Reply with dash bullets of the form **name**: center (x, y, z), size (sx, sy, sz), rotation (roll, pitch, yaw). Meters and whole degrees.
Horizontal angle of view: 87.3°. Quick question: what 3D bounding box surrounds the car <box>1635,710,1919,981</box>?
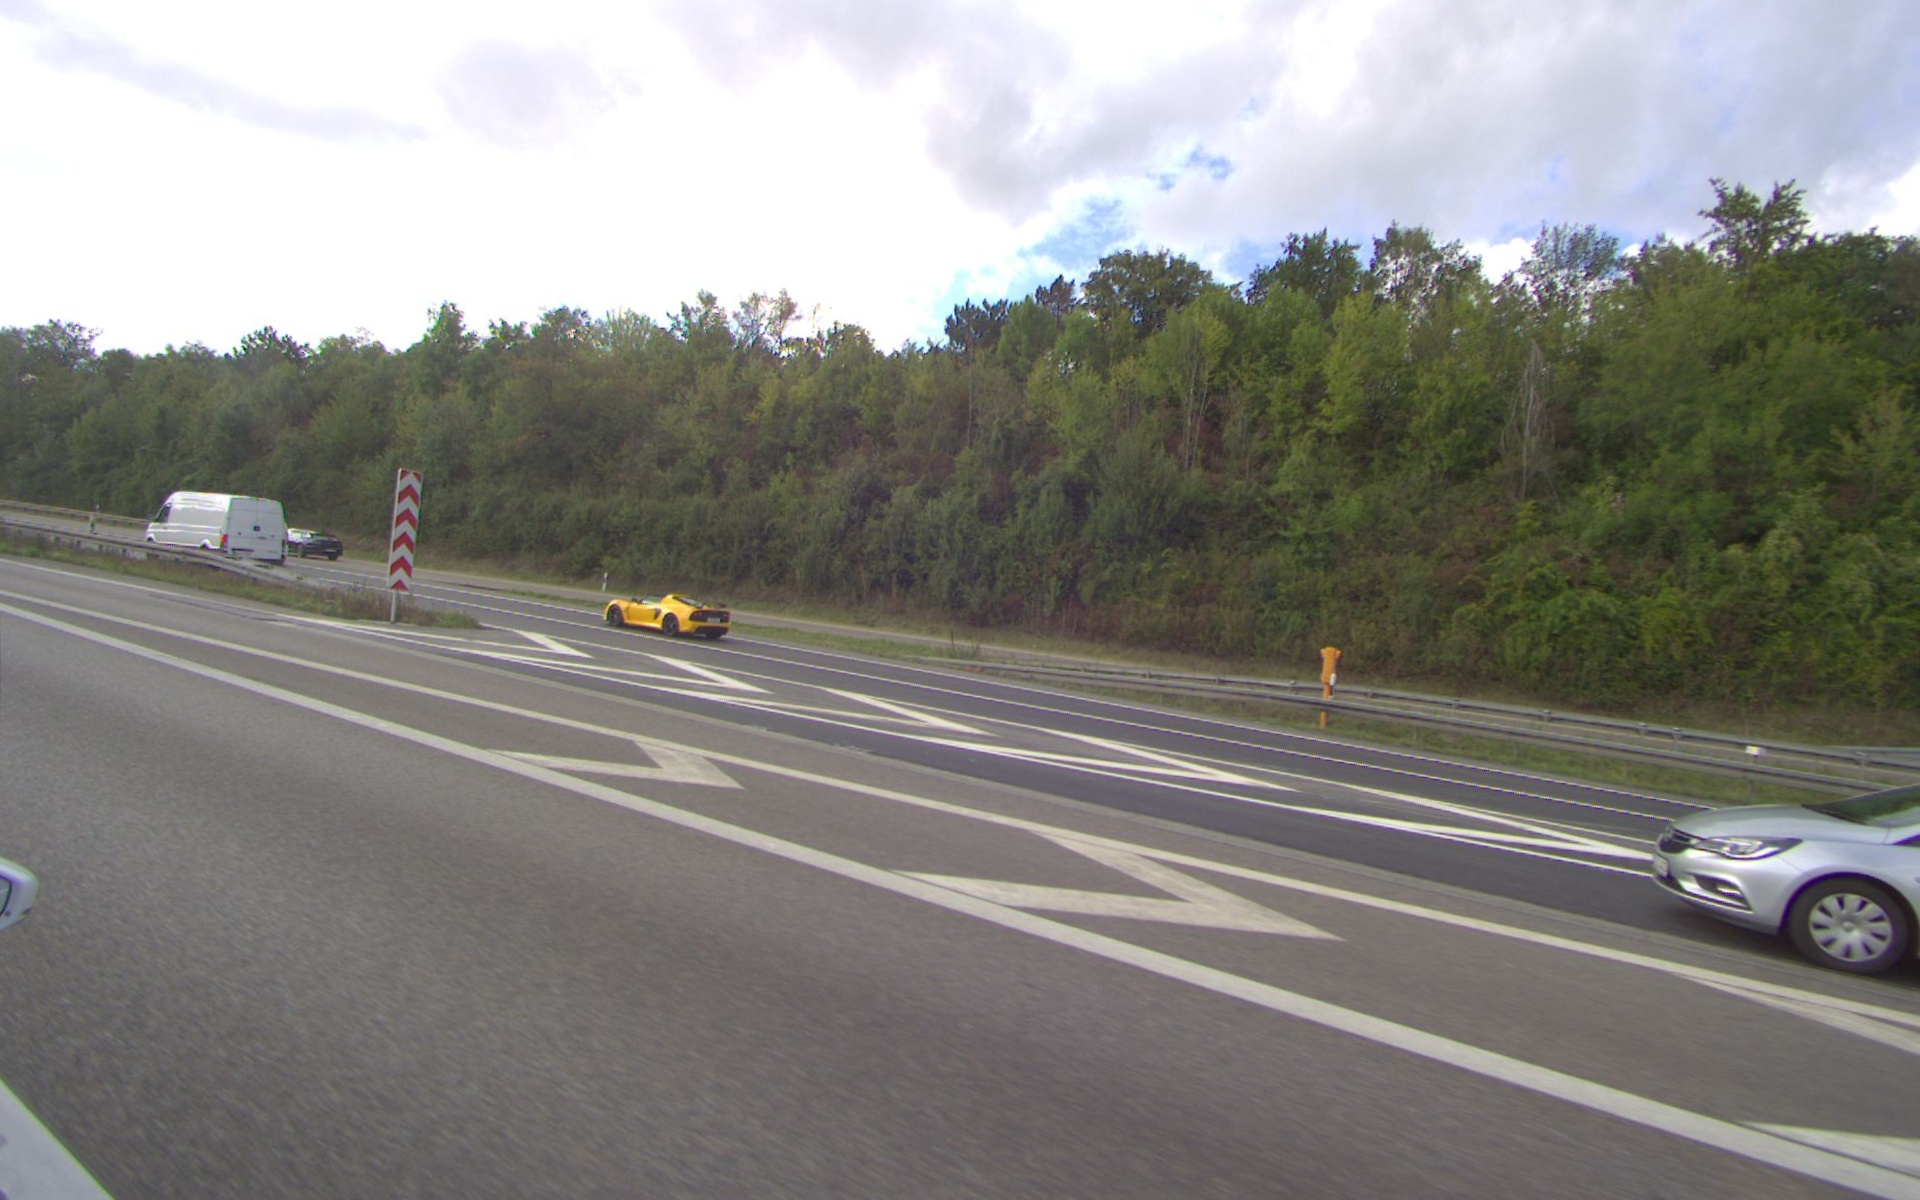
- **car**: center (7.490, 1.858, 6.771), size (4.533, 1.503, 1.688), rotation (7, -1, 24)

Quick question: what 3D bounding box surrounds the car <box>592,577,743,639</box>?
- **car**: center (-8.326, 0.218, 28.571), size (4.099, 1.196, 1.715), rotation (7, -1, 31)

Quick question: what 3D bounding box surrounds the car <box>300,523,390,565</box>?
- **car**: center (-31.071, -2.855, 50.798), size (4.684, 1.623, 1.844), rotation (7, 2, 31)

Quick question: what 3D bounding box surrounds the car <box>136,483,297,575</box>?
- **car**: center (-26.342, -2.553, 35.532), size (6.630, 2.586, 2.072), rotation (7, 1, 31)
